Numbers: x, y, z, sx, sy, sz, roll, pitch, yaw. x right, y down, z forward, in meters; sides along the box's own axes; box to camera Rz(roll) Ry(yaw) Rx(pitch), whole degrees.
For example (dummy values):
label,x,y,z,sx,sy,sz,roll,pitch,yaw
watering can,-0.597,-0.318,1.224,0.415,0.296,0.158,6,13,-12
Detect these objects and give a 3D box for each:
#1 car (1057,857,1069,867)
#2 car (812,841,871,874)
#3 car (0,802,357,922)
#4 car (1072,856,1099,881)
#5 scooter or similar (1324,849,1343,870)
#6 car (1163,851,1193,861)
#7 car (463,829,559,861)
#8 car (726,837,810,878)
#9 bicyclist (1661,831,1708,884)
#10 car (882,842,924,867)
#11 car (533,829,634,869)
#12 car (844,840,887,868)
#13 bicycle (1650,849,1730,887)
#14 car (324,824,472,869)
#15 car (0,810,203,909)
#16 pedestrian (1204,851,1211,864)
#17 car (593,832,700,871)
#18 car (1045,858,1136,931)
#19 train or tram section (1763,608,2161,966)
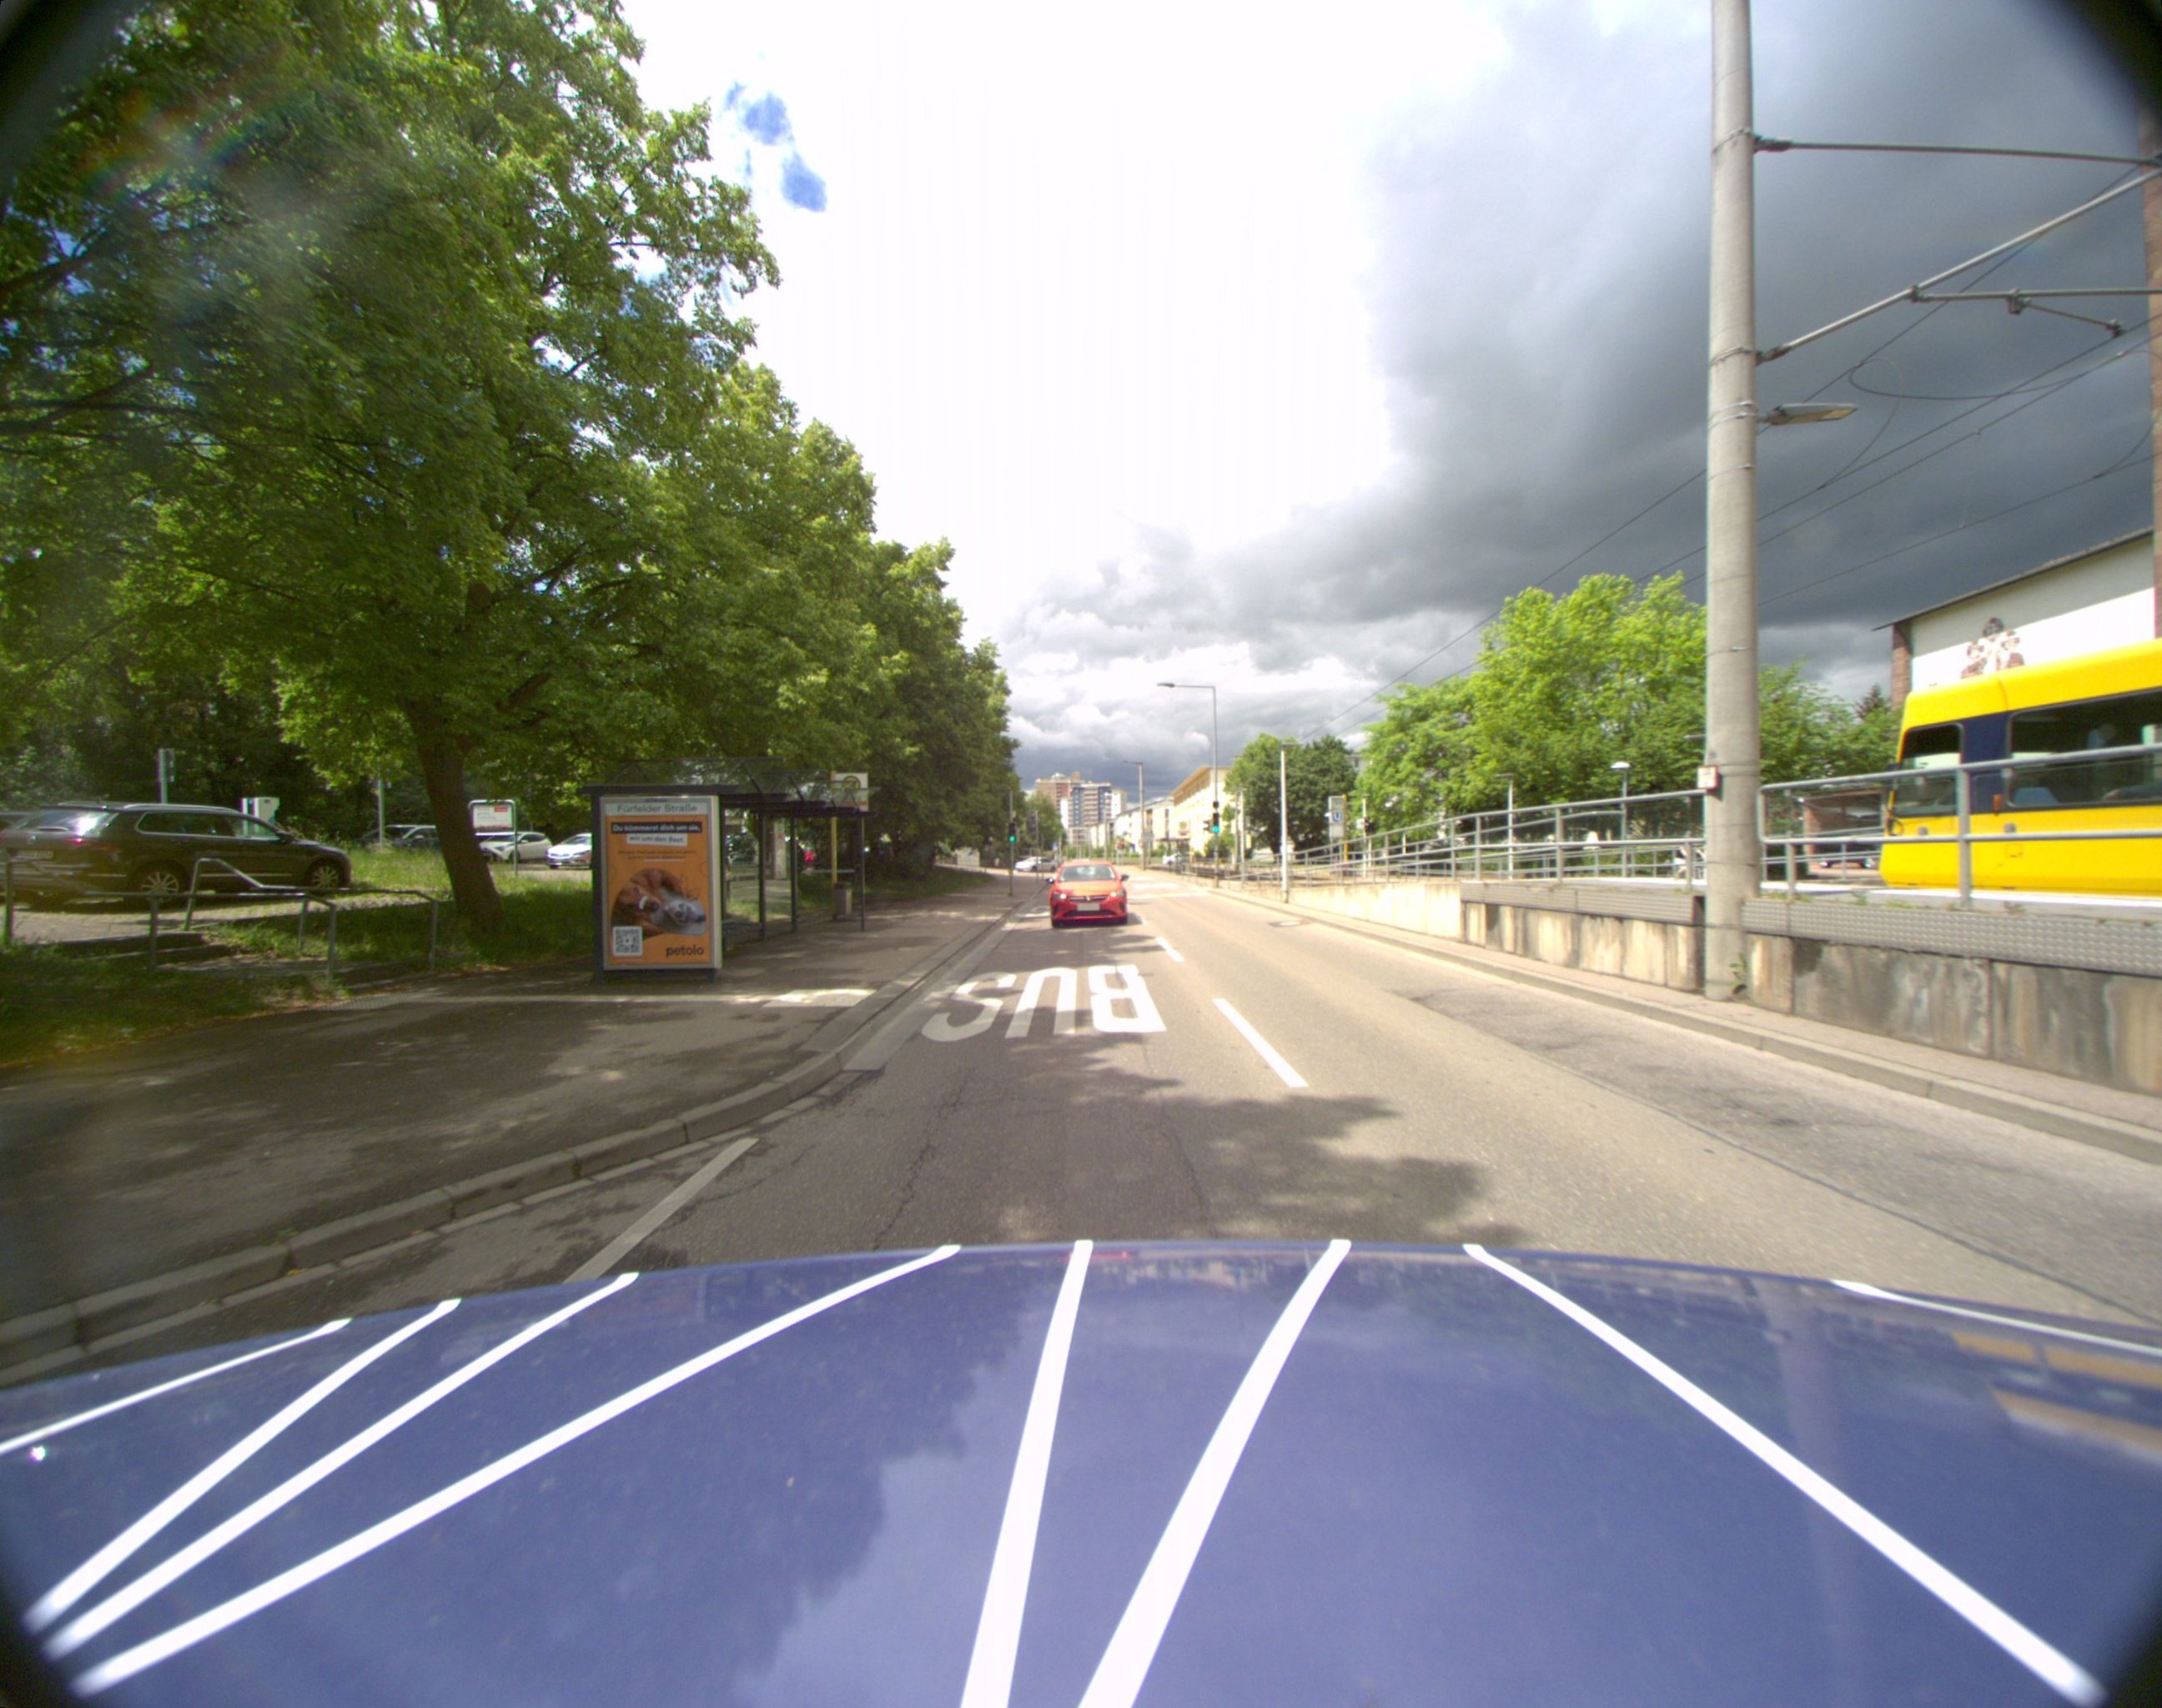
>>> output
label,x,y,z,sx,sy,sz,roll,pitch,yaw
car,-2.986,1.361,124.975,1.760,1.570,4.020,0,0,-4
car,-11.575,0.138,36.983,1.665,1.492,3.662,1,0,0
car,-15.295,0.041,13.055,1.692,1.685,4.260,2,2,-1
car,0.254,0.875,47.989,1.499,1.477,3.519,-1,0,-4
scooter or similar,15.375,0.324,46.367,0.651,1.229,1.401,-3,0,1
car,13.667,0.311,106.826,4.131,1.286,1.633,2,0,10
car,-26.020,-0.404,34.861,1.635,1.320,3.662,1,0,0
car,-12.533,0.128,30.678,1.631,1.505,4.138,2,0,0
bicyclist,16.848,0.099,21.236,0.635,1.421,0.790,-3,1,0
car,-11.070,-0.001,47.474,1.829,1.503,3.812,0,2,-2
car,-19.997,-0.205,30.739,1.635,1.469,3.662,1,0,0
car,-13.603,-0.045,48.065,1.683,1.626,3.904,3,2,-2
bicycle,16.842,0.367,21.065,0.639,0.988,1.928,-3,0,0
car,-26.287,-0.277,29.455,2.064,1.615,4.099,0,0,-1
car,-17.586,0.044,12.603,1.692,1.484,3.792,2,2,-1
pedestrian,15.363,0.383,92.085,0.614,1.531,0.874,-2,1,-2
car,-17.699,-0.102,31.212,1.756,1.469,4.544,1,0,0
car,0.117,0.873,18.185,1.784,1.433,4.129,-3,0,-4
train or tram section,11.954,-0.685,2.115,3.116,3.444,18.824,-3,0,0
